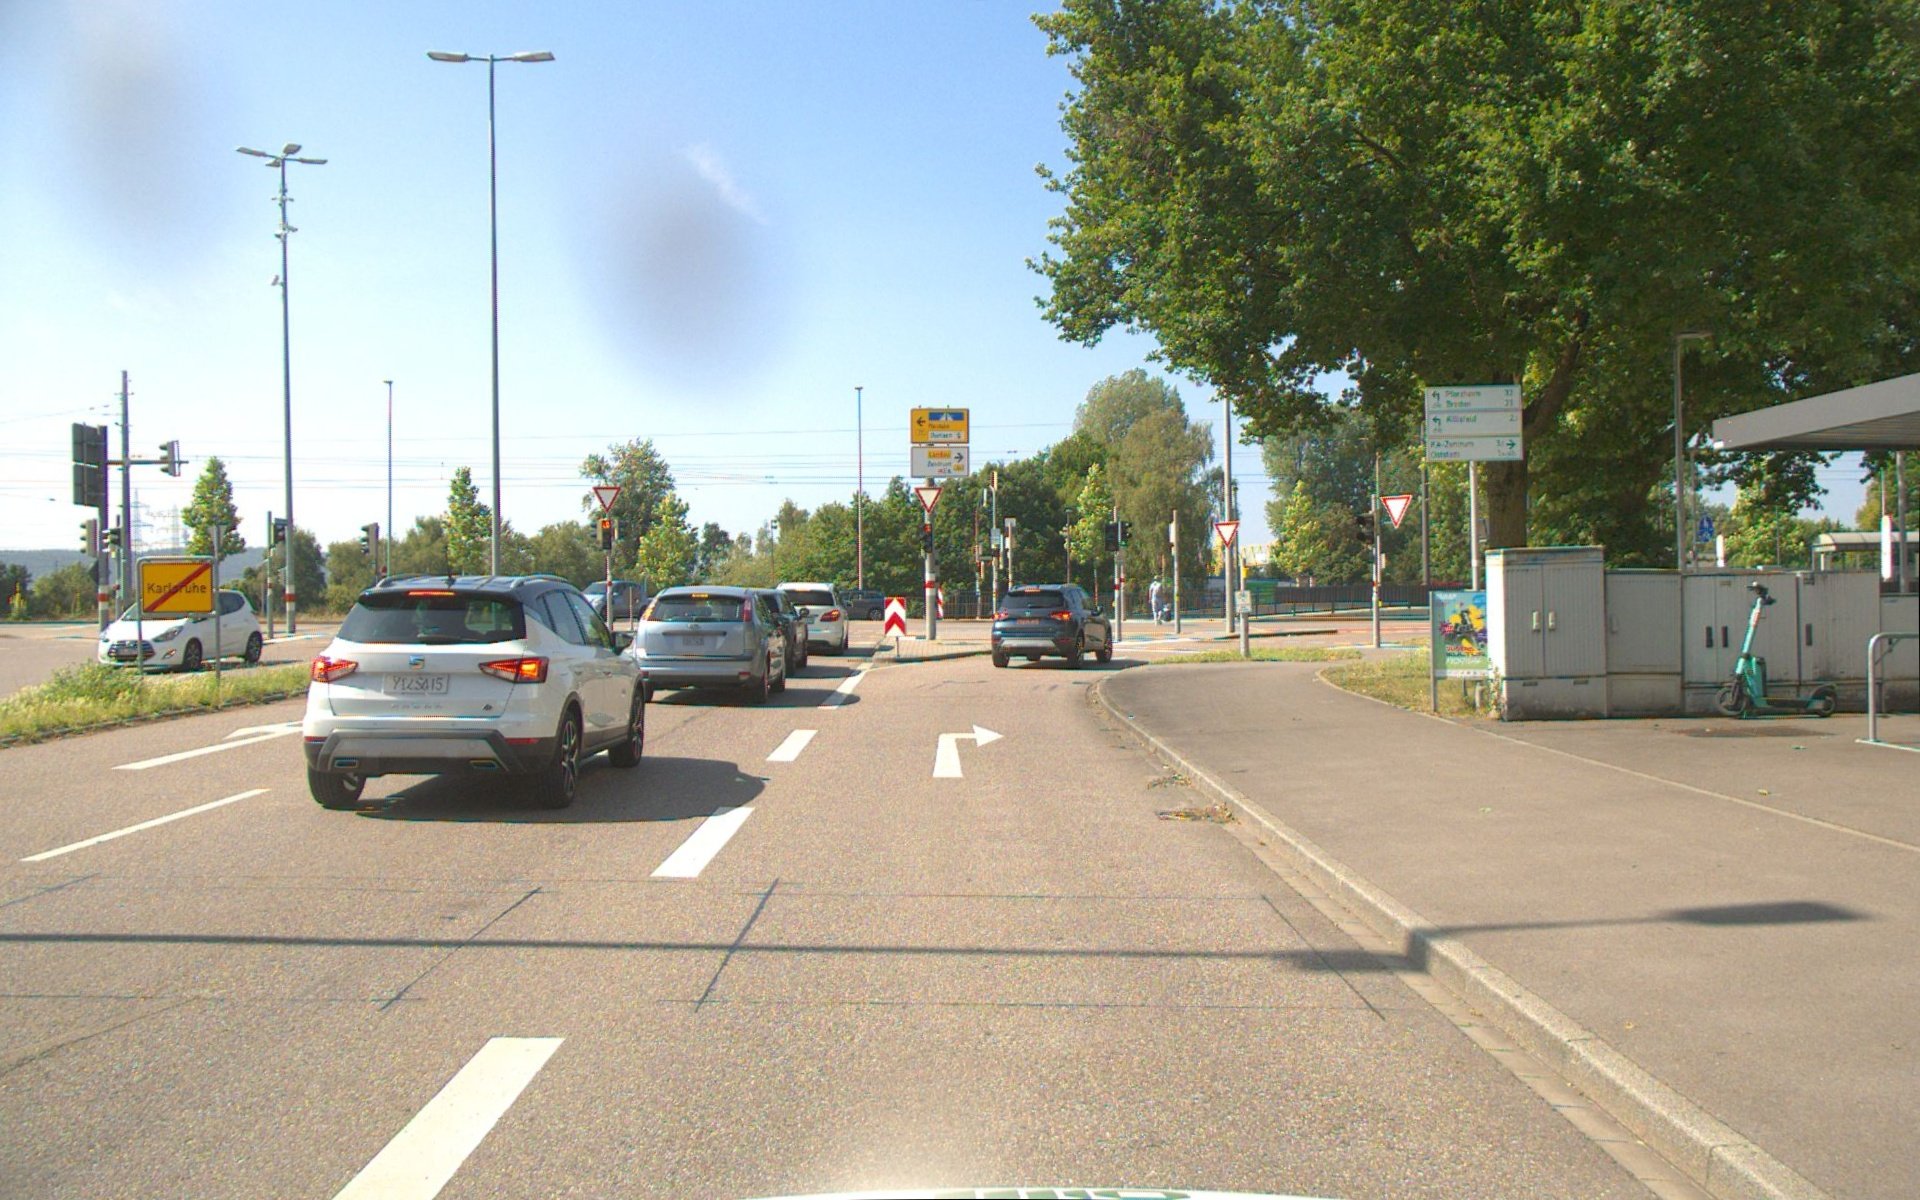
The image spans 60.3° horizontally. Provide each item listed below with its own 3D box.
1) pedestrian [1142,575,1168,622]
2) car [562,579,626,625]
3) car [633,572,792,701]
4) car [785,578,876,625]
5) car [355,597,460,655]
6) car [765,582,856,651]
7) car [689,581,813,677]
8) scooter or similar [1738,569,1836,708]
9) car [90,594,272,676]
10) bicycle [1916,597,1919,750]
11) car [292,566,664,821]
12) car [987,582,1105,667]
[{"bbox_3d":[6.532,-0.053,55.380,0.756,1.537,1.008,-1,1,10],"label":"pedestrian"},{"bbox_3d":[-14.154,0.063,64.170,1.594,1.653,3.917,-1,1,0],"label":"car"},{"bbox_3d":[-3.279,0.436,22.566,1.672,1.600,4.172,0,0,-2],"label":"car"},{"bbox_3d":[-5.872,0.063,74.679,3.914,2.049,1.995,-1,-1,-10],"label":"car"},{"bbox_3d":[-10.447,0.477,31.415,1.094,1.021,2.492,-1,0,1],"label":"car"},{"bbox_3d":[-3.310,0.336,37.367,1.706,1.473,4.388,0,0,-1],"label":"car"},{"bbox_3d":[-3.634,0.460,29.386,1.702,1.538,4.200,-1,0,-1],"label":"car"},{"bbox_3d":[7.864,0.364,15.736,0.761,1.287,0.283,-2,0,-4],"label":"scooter or similar"},{"bbox_3d":[-16.003,0.681,34.212,1.757,1.574,4.087,0,0,1],"label":"car"},{"bbox_3d":[7.844,0.519,11.842,1.722,1.115,0.452,-1,0,-1],"label":"bicycle"},{"bbox_3d":[-3.353,0.547,12.265,1.597,1.524,3.871,0,2,0],"label":"car"},{"bbox_3d":[1.712,0.444,32.021,1.634,1.550,3.379,0,0,15],"label":"car"}]
